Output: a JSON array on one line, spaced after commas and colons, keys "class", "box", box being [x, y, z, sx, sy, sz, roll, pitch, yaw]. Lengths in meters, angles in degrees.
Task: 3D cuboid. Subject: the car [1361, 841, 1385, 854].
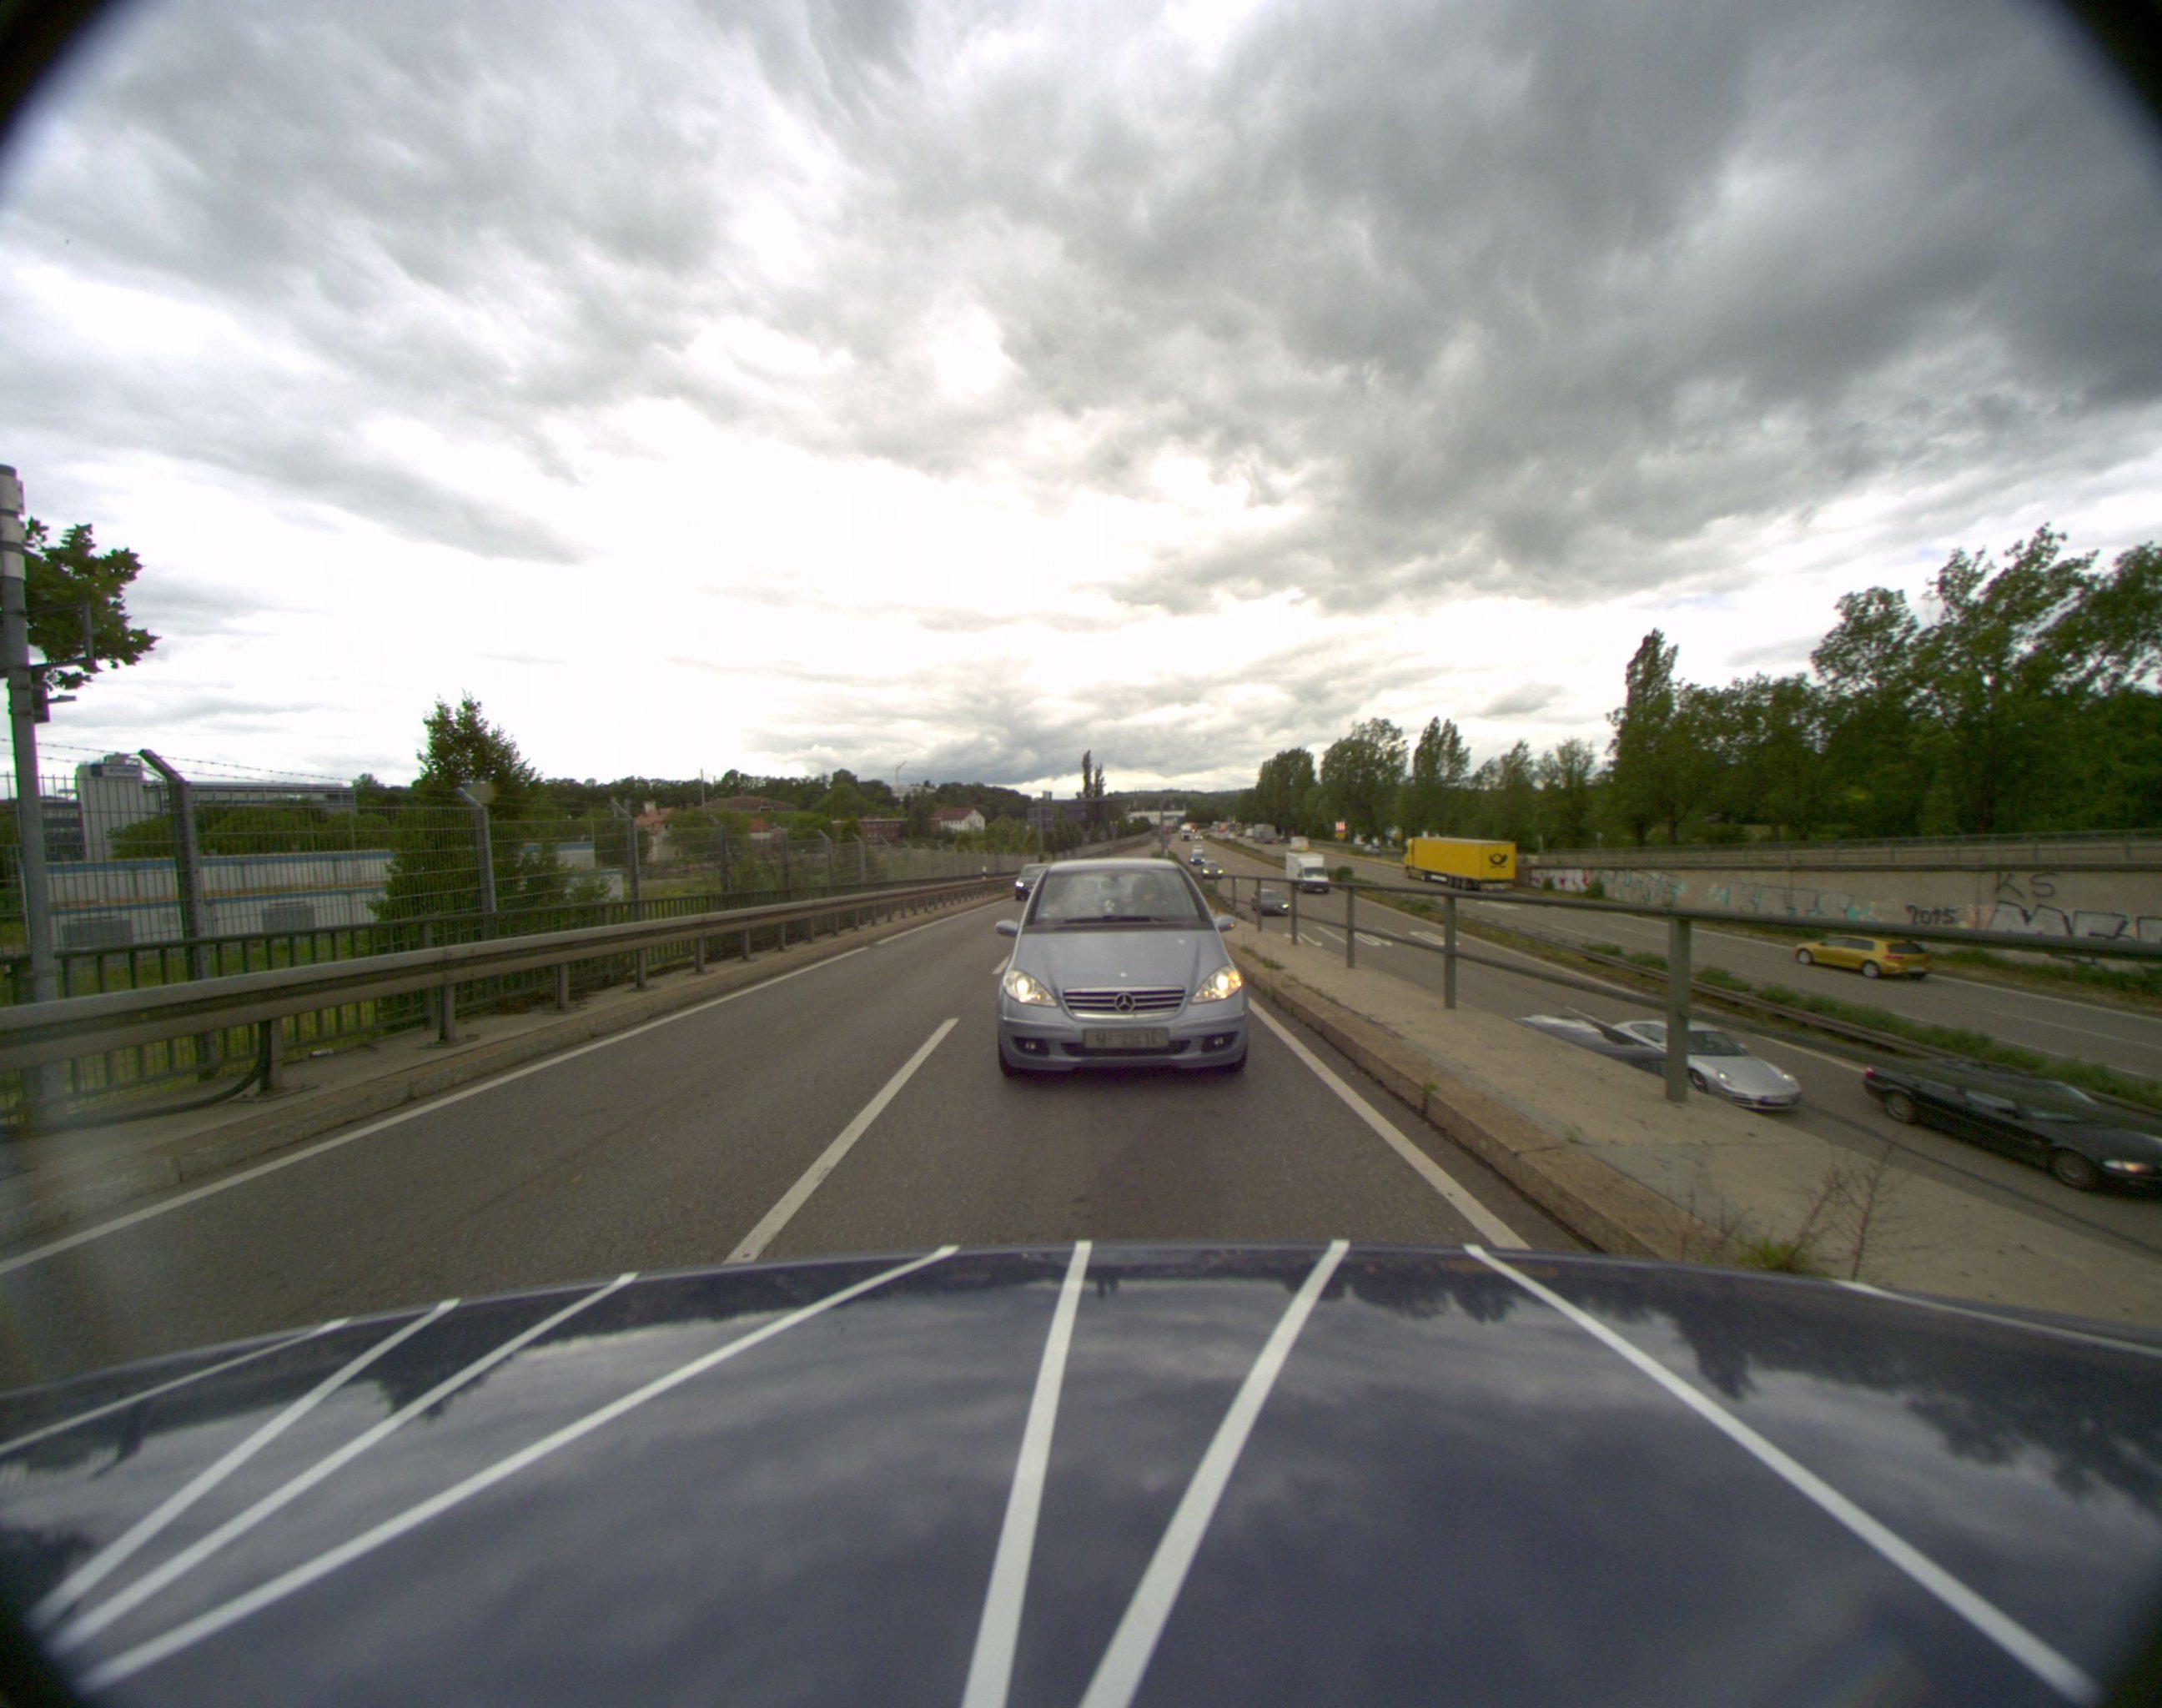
[{"class": "car", "box": [42.999, -1.005, 111.928, 1.897, 1.643, 4.377, -3, 2, 3]}]

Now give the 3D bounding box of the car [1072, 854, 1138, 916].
[{"class": "car", "box": [0.715, 0.908, 23.672, 1.830, 1.701, 4.001, -2, -1, 1]}]

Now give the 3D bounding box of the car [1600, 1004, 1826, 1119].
[{"class": "car", "box": [14.257, 4.625, 17.516, 1.789, 1.294, 4.151, 0, 3, 2]}]

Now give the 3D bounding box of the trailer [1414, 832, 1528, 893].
[{"class": "trailer", "box": [32.456, 0.443, 64.261, 3.248, 4.239, 13.675, 0, 3, 3]}]

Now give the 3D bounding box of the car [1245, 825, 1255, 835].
[{"class": "car", "box": [49.939, -7.138, 224.467, 1.998, 2.635, 5.179, 2, 3, 2]}]

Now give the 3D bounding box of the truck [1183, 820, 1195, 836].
[{"class": "truck", "box": [28.185, -6.754, 198.572, 3.009, 4.087, 5.873, 0, 3, 6]}]

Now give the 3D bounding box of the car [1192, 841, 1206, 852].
[{"class": "car", "box": [18.415, -1.193, 118.502, 1.769, 1.520, 3.335, 0, 3, 3]}]

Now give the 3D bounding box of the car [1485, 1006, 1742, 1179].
[{"class": "car", "box": [10.222, 4.506, 15.126, 1.998, 1.830, 4.422, -1, 3, 1]}]

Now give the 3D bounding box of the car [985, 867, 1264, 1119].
[{"class": "car", "box": [0.307, 0.916, 6.789, 1.743, 1.534, 3.993, -1, 0, 1]}]

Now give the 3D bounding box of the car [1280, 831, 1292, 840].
[{"class": "car", "box": [46.846, -4.346, 173.675, 1.998, 1.890, 4.583, 2, 3, 5]}]

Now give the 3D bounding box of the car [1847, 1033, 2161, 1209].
[{"class": "car", "box": [17.314, 4.703, 14.065, 1.863, 1.457, 4.423, -2, 3, 2]}]

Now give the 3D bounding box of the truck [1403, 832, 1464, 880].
[{"class": "truck", "box": [32.875, 0.078, 71.130, 3.248, 4.159, 5.802, 0, 3, 3]}]

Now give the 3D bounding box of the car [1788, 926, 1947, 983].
[{"class": "car", "box": [30.389, 3.841, 29.559, 1.872, 1.449, 4.151, -1, 3, 1]}]

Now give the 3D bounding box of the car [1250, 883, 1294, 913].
[{"class": "car", "box": [12.210, 2.805, 48.842, 1.828, 1.443, 4.125, 0, 3, 1]}]

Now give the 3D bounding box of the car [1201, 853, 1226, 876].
[{"class": "car", "box": [13.254, 1.015, 76.059, 1.998, 2.003, 3.999, 1, 3, 3]}]

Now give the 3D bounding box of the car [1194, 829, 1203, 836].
[{"class": "car", "box": [32.477, -5.981, 210.343, 1.854, 1.562, 4.436, -1, 4, 2]}]

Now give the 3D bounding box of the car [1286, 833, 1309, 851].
[{"class": "car", "box": [34.160, -1.904, 120.161, 1.998, 2.614, 6.711, 1, 3, 3]}]

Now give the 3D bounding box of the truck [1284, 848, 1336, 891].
[{"class": "truck", "box": [18.851, 1.204, 62.996, 2.238, 2.993, 7.228, -1, 3, 1]}]

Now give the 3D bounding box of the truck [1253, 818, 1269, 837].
[{"class": "truck", "box": [41.758, -6.151, 176.104, 2.793, 4.117, 5.934, -1, 3, 5]}]

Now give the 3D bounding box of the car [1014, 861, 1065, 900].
[{"class": "car", "box": [-1.844, 1.179, 35.185, 1.800, 1.643, 4.152, -2, 0, 4]}]

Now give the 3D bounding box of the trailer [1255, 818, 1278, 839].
[{"class": "trailer", "box": [41.224, -5.748, 169.432, 2.793, 4.117, 13.760, -1, 3, 5]}]

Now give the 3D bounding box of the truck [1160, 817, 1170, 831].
[{"class": "truck", "box": [27.576, -9.858, 249.243, 3.101, 3.990, 8.487, -1, 4, 5]}]

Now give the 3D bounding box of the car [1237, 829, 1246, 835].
[{"class": "car", "box": [51.654, -7.203, 244.850, 1.886, 1.807, 4.560, 2, 3, 2]}]

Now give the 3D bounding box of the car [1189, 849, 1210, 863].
[{"class": "car", "box": [15.043, 0.211, 96.742, 1.998, 1.524, 3.998, 0, 3, 1]}]

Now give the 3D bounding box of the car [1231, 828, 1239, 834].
[{"class": "car", "box": [42.941, -6.473, 212.452, 1.682, 1.412, 3.999, 0, 3, 4]}]
